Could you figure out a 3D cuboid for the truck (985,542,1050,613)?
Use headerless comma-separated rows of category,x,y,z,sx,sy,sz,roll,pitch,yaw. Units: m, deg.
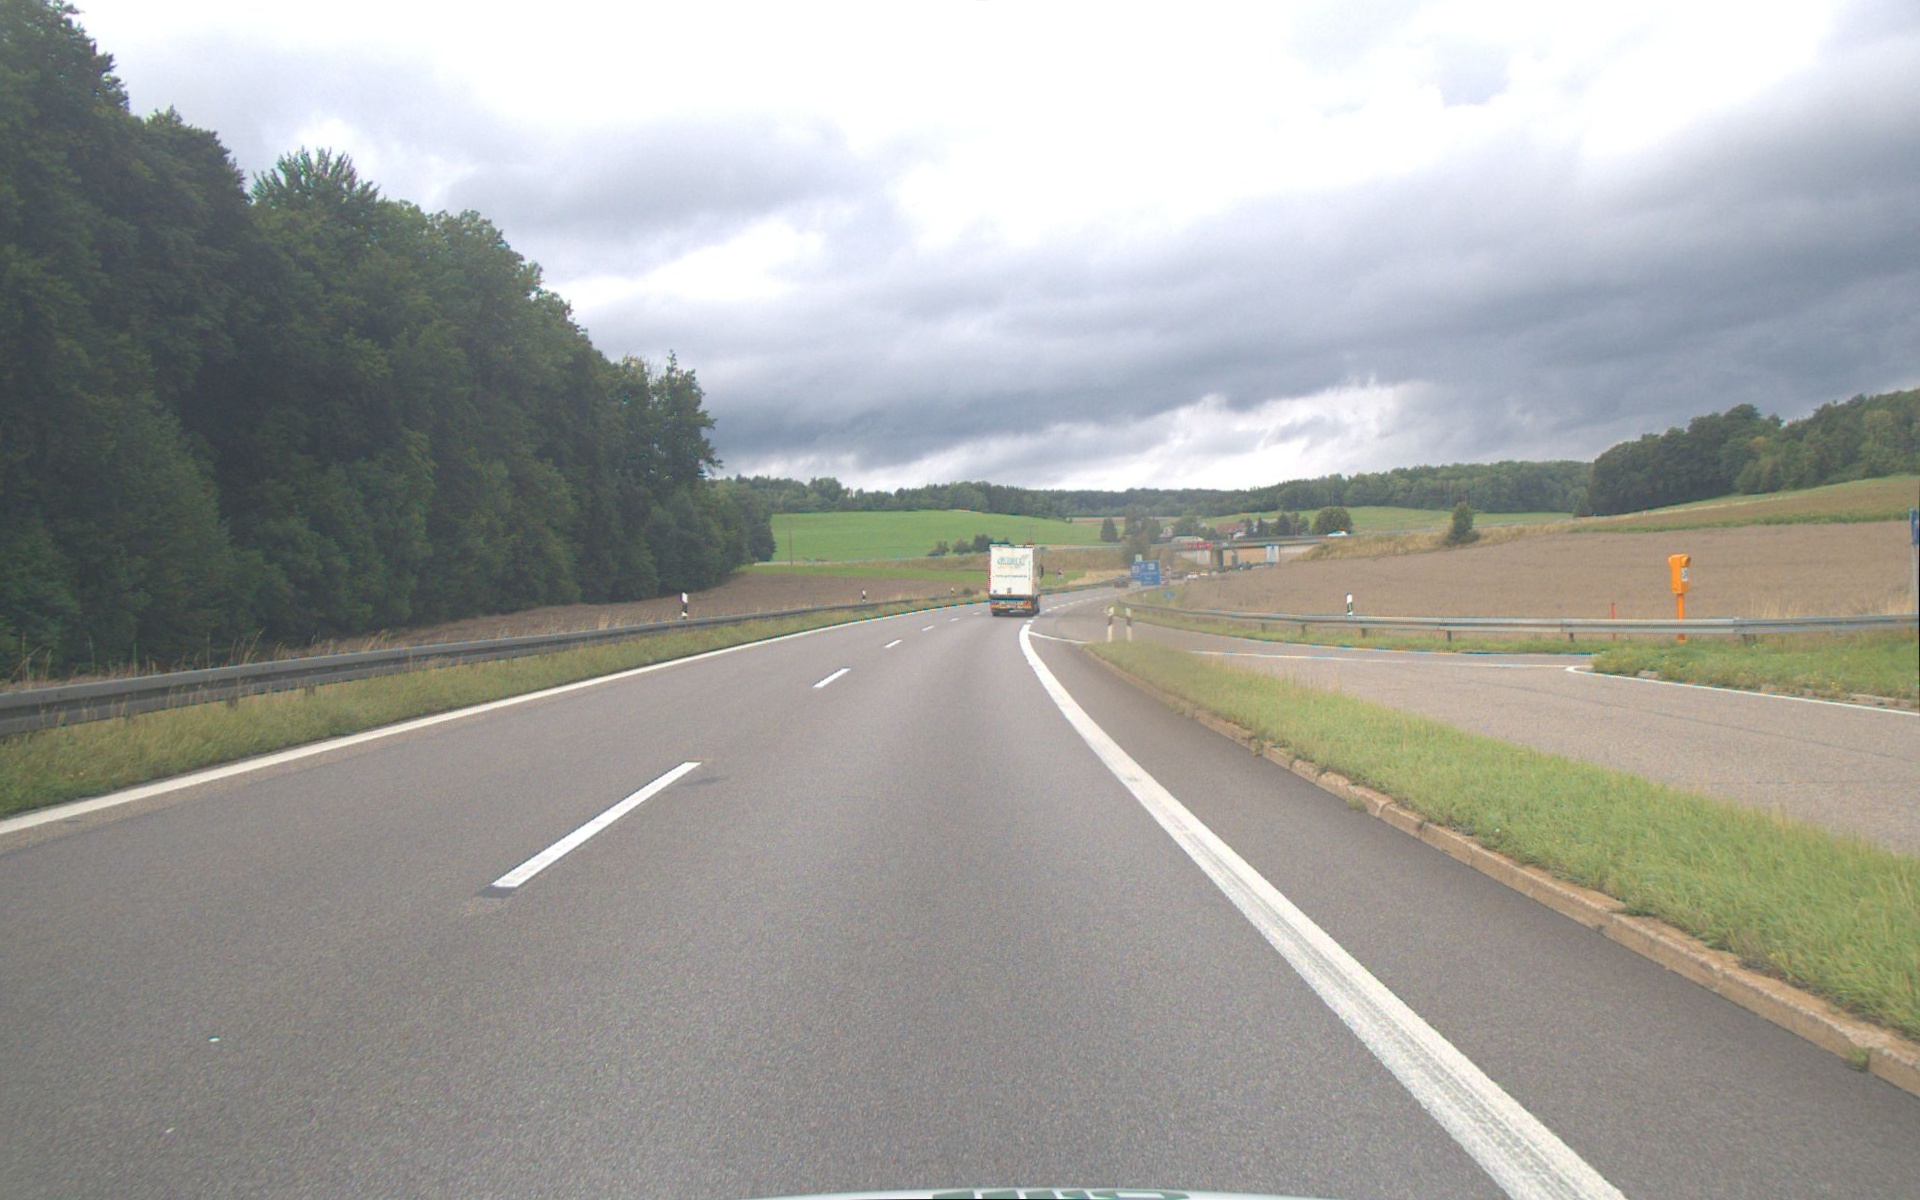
truck,3.748,-1.434,106.014,3.708,4.203,8.269,2,1,4

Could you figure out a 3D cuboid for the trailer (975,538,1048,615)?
trailer,3.248,-1.351,98.766,3.725,4.247,14.816,1,0,4

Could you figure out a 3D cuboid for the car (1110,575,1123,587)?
car,24.771,-2.987,261.593,1.862,1.827,4.002,-1,-1,6
